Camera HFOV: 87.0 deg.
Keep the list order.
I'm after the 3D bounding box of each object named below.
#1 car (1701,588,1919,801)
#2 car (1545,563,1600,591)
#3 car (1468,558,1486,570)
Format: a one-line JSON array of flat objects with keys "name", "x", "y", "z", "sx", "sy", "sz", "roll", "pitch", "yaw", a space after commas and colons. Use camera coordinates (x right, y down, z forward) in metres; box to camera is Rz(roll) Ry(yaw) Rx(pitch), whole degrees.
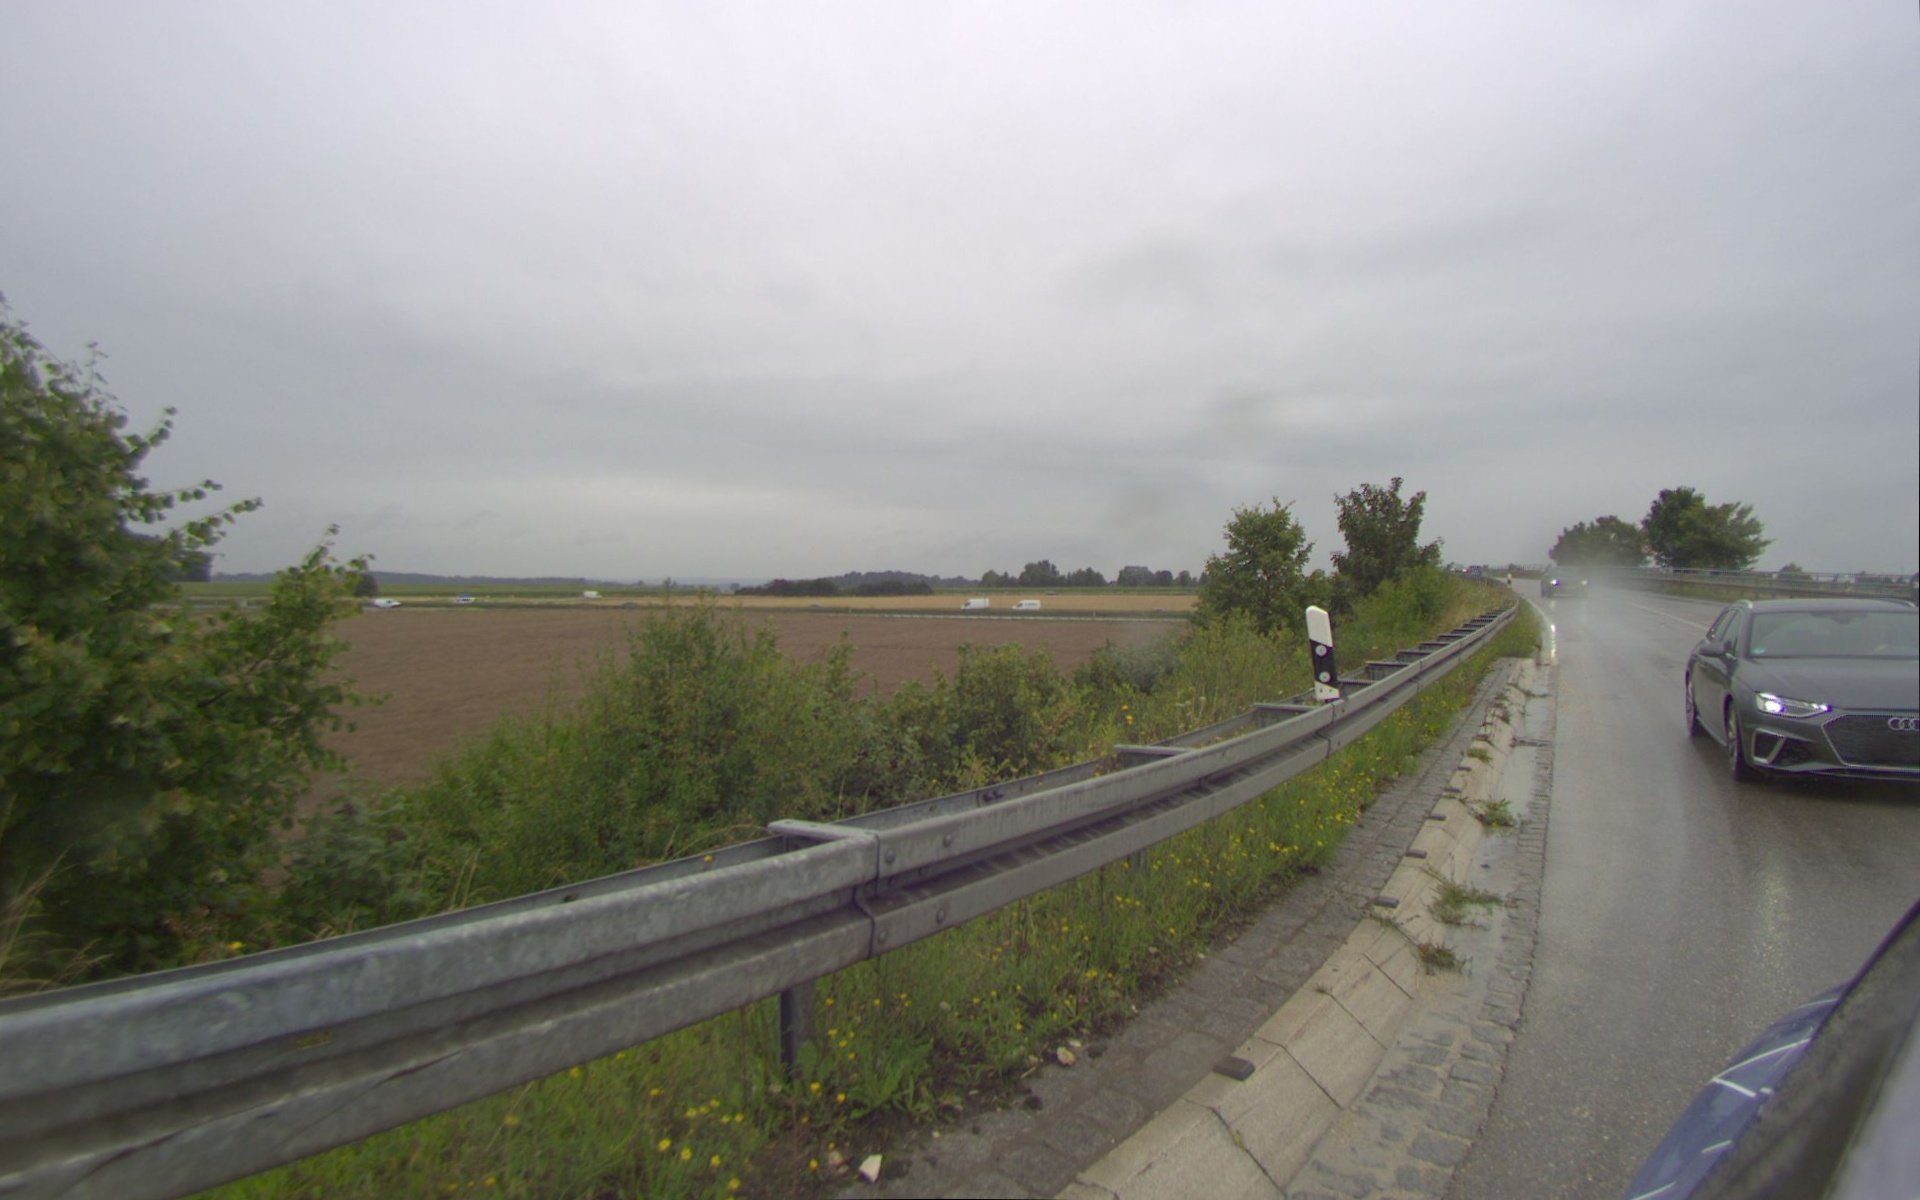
[{"name": "car", "x": 7.710, "y": 0.623, "z": 8.755, "sx": 1.897, "sy": 1.386, "sz": 4.510, "roll": -1, "pitch": 1, "yaw": 34}, {"name": "car", "x": 31.493, "y": -1.199, "z": 52.135, "sx": 1.890, "sy": 1.386, "sz": 4.529, "roll": 0, "pitch": 2, "yaw": 24}, {"name": "car", "x": 68.018, "y": -4.792, "z": 133.129, "sx": 1.767, "sy": 1.544, "sz": 4.137, "roll": 1, "pitch": 3, "yaw": 24}]
